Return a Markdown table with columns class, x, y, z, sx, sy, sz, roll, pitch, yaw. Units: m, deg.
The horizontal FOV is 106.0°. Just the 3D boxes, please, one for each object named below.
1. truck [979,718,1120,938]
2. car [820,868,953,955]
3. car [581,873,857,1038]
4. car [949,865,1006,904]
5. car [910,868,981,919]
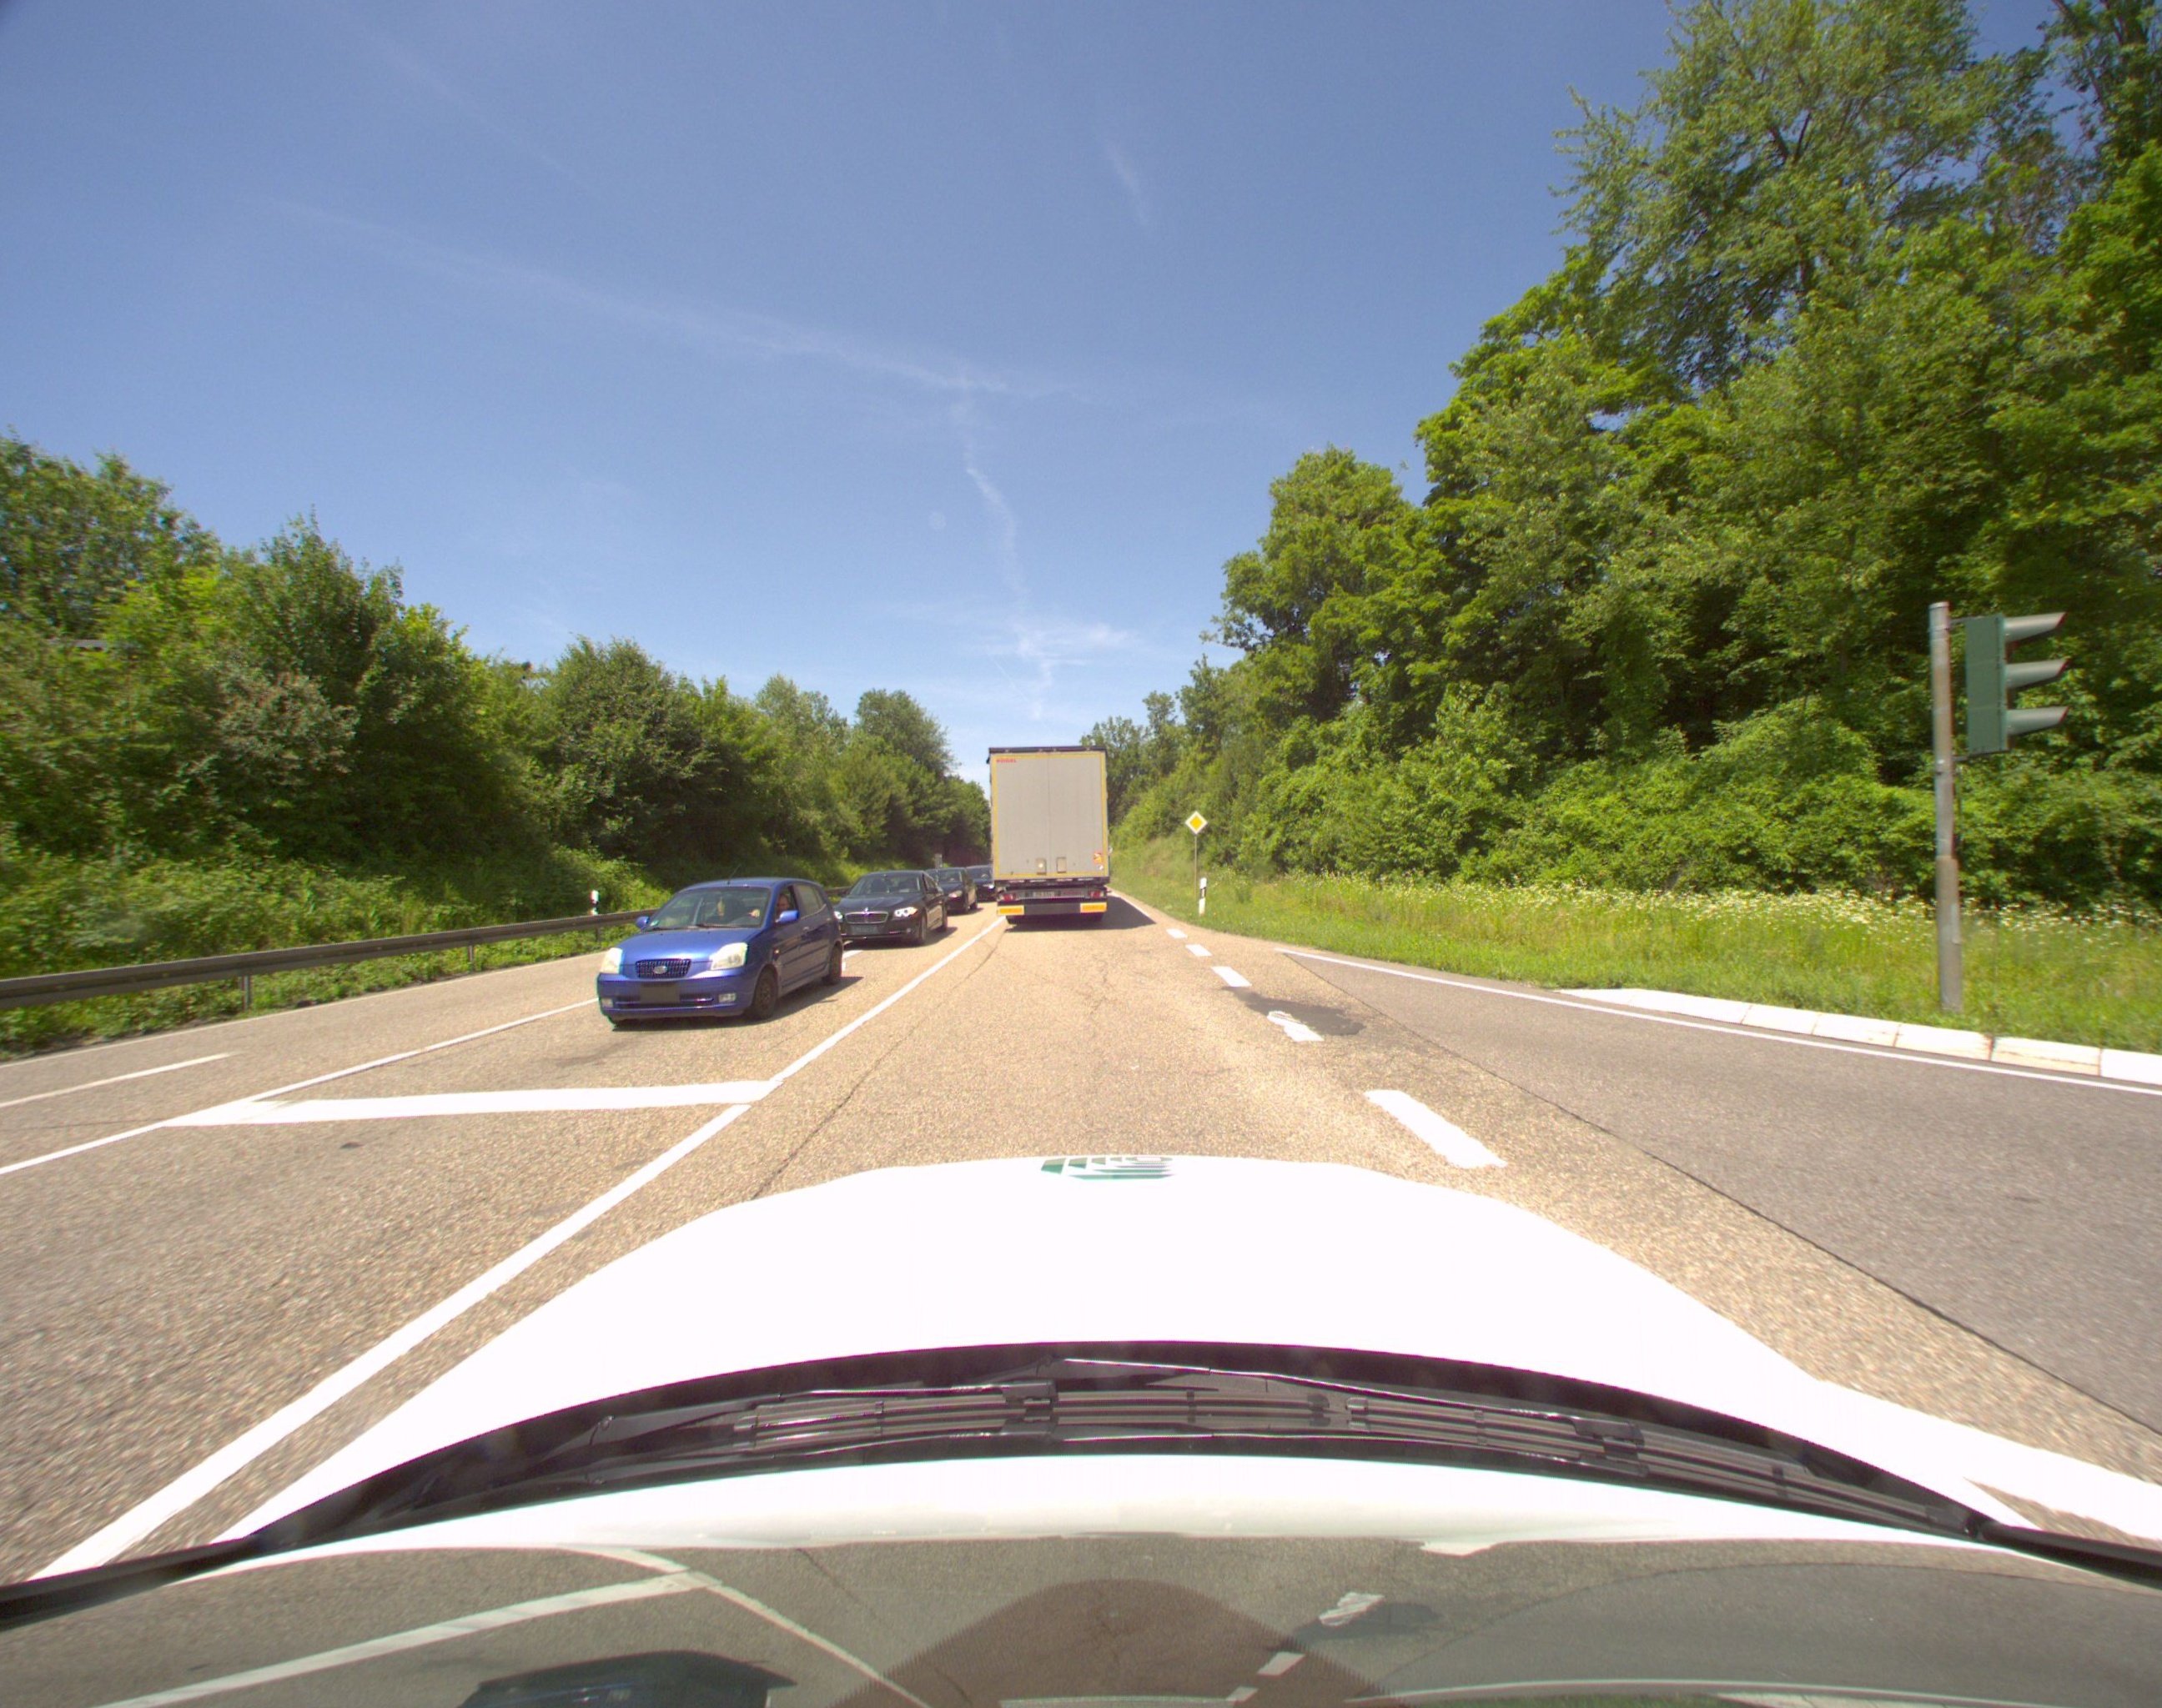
| class | x | y | z | sx | sy | sz | roll | pitch | yaw |
| --- | --- | --- | --- | --- | --- | --- | --- | --- | --- |
| truck | -0.809 | -0.545 | 20.784 | 2.816 | 4.604 | 6.658 | -2 | 0 | -3 |
| car | -3.894 | 1.071 | 17.071 | 1.777 | 1.447 | 4.636 | -2 | 0 | -2 |
| car | -3.988 | 1.015 | 9.695 | 1.562 | 1.440 | 3.769 | -2 | 0 | 0 |
| car | -4.259 | 1.230 | 34.140 | 1.799 | 1.453 | 4.384 | -2 | -1 | -1 |
| car | -4.214 | 1.185 | 25.887 | 1.678 | 1.414 | 4.177 | -2 | -1 | -3 |
